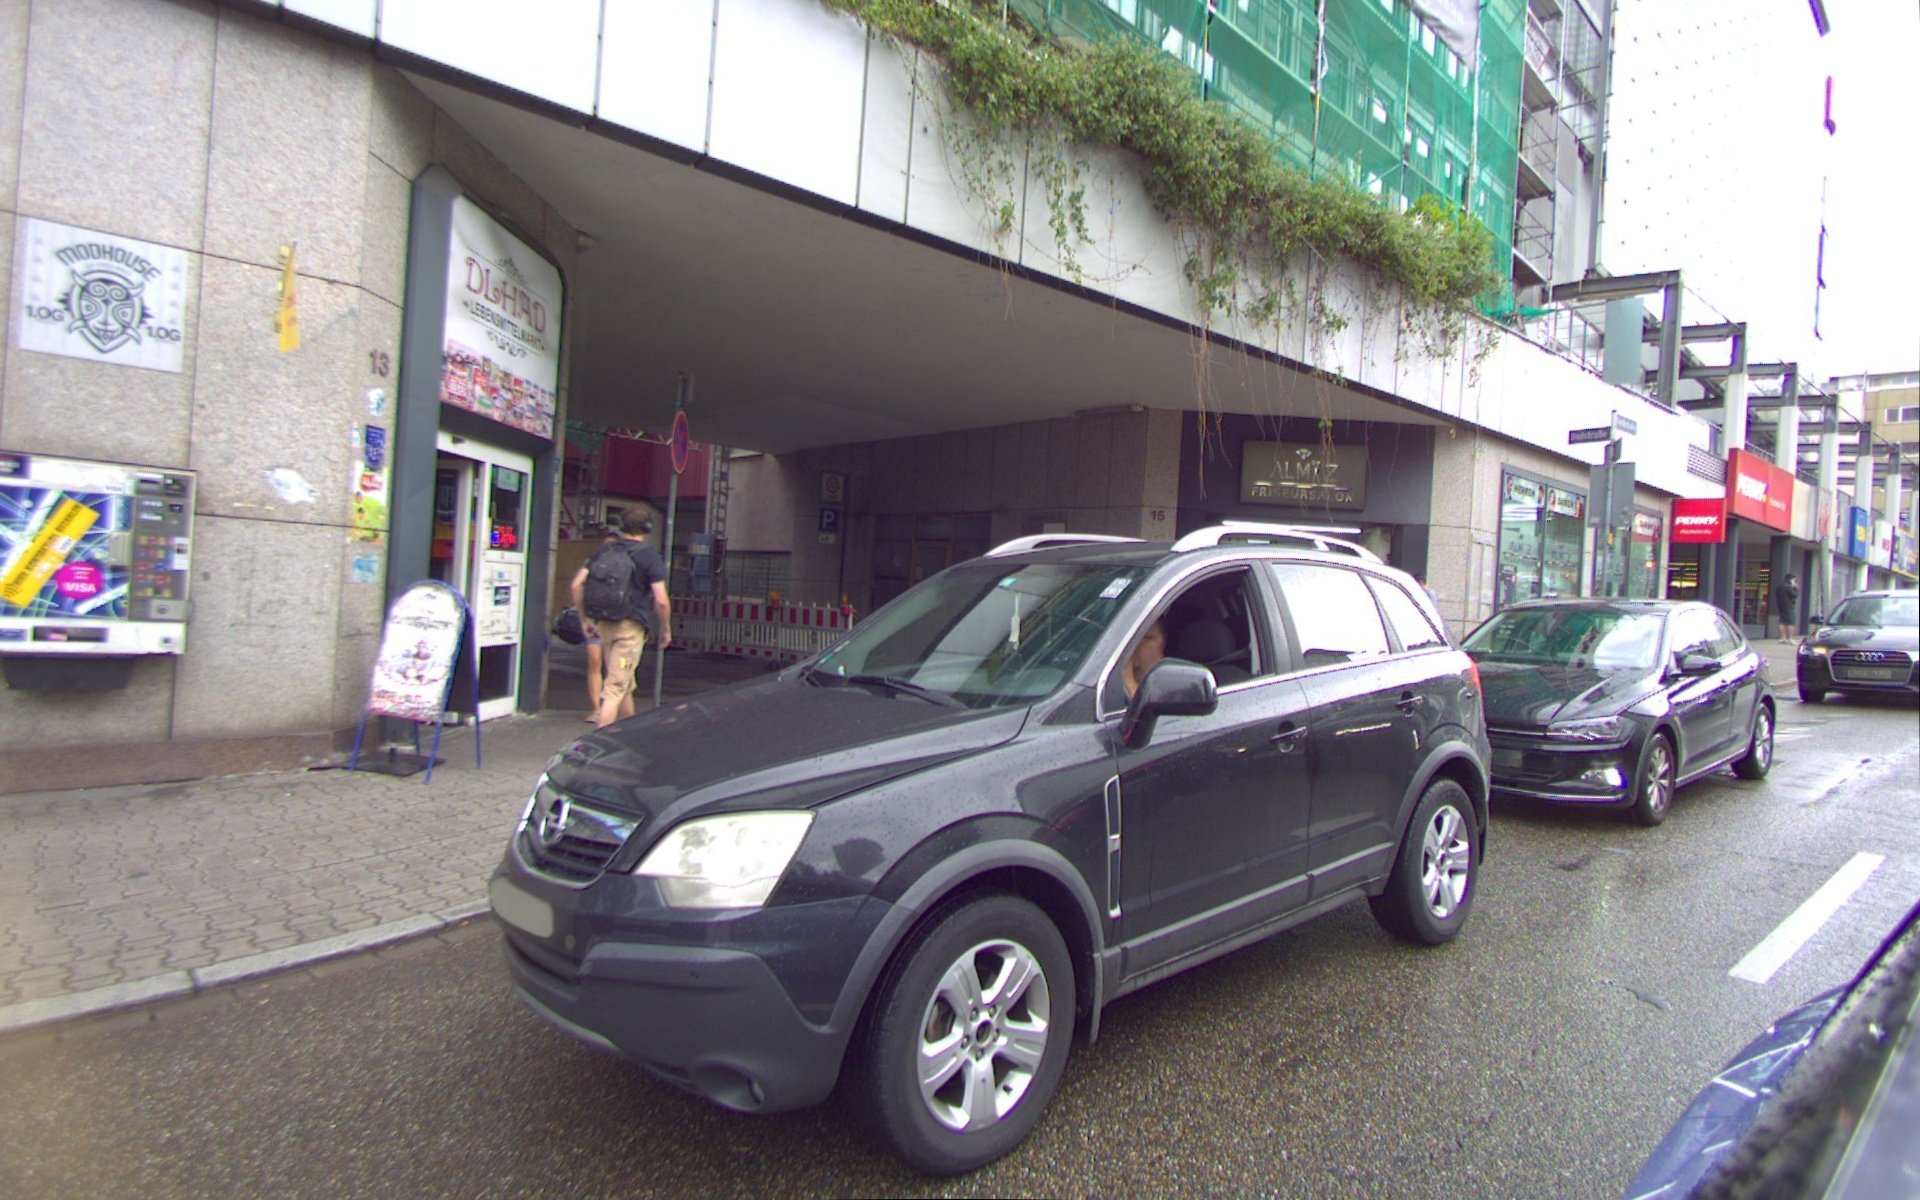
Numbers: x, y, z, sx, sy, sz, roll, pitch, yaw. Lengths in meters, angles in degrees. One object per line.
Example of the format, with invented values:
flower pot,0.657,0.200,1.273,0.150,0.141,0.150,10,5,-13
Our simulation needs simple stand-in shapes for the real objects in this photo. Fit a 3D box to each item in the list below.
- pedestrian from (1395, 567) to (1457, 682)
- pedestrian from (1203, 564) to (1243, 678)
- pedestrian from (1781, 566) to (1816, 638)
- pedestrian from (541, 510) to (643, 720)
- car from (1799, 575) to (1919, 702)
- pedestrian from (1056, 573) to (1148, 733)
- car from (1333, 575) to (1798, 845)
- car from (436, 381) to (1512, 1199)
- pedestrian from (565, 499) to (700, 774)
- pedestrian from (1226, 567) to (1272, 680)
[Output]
pedestrian,6.953,0.340,15.093,0.729,1.663,0.631,0,1,36
pedestrian,4.054,0.309,15.606,0.474,1.729,0.467,0,0,1
pedestrian,20.283,0.041,24.475,0.570,1.699,0.509,-1,3,-42
pedestrian,-3.440,0.107,9.431,0.729,1.837,0.774,0,5,-32
car,13.669,0.472,14.468,4.089,1.628,1.841,-1,1,-39
pedestrian,1.723,0.603,12.287,0.760,1.838,0.743,0,3,-40
car,4.755,0.638,7.708,4.088,1.523,1.759,1,0,-39
car,0.409,0.481,3.983,4.090,1.788,1.763,1,0,-41
pedestrian,-2.356,0.218,7.239,0.757,1.837,0.745,0,5,-29
pedestrian,4.230,0.330,14.821,0.630,1.615,0.574,0,1,17
